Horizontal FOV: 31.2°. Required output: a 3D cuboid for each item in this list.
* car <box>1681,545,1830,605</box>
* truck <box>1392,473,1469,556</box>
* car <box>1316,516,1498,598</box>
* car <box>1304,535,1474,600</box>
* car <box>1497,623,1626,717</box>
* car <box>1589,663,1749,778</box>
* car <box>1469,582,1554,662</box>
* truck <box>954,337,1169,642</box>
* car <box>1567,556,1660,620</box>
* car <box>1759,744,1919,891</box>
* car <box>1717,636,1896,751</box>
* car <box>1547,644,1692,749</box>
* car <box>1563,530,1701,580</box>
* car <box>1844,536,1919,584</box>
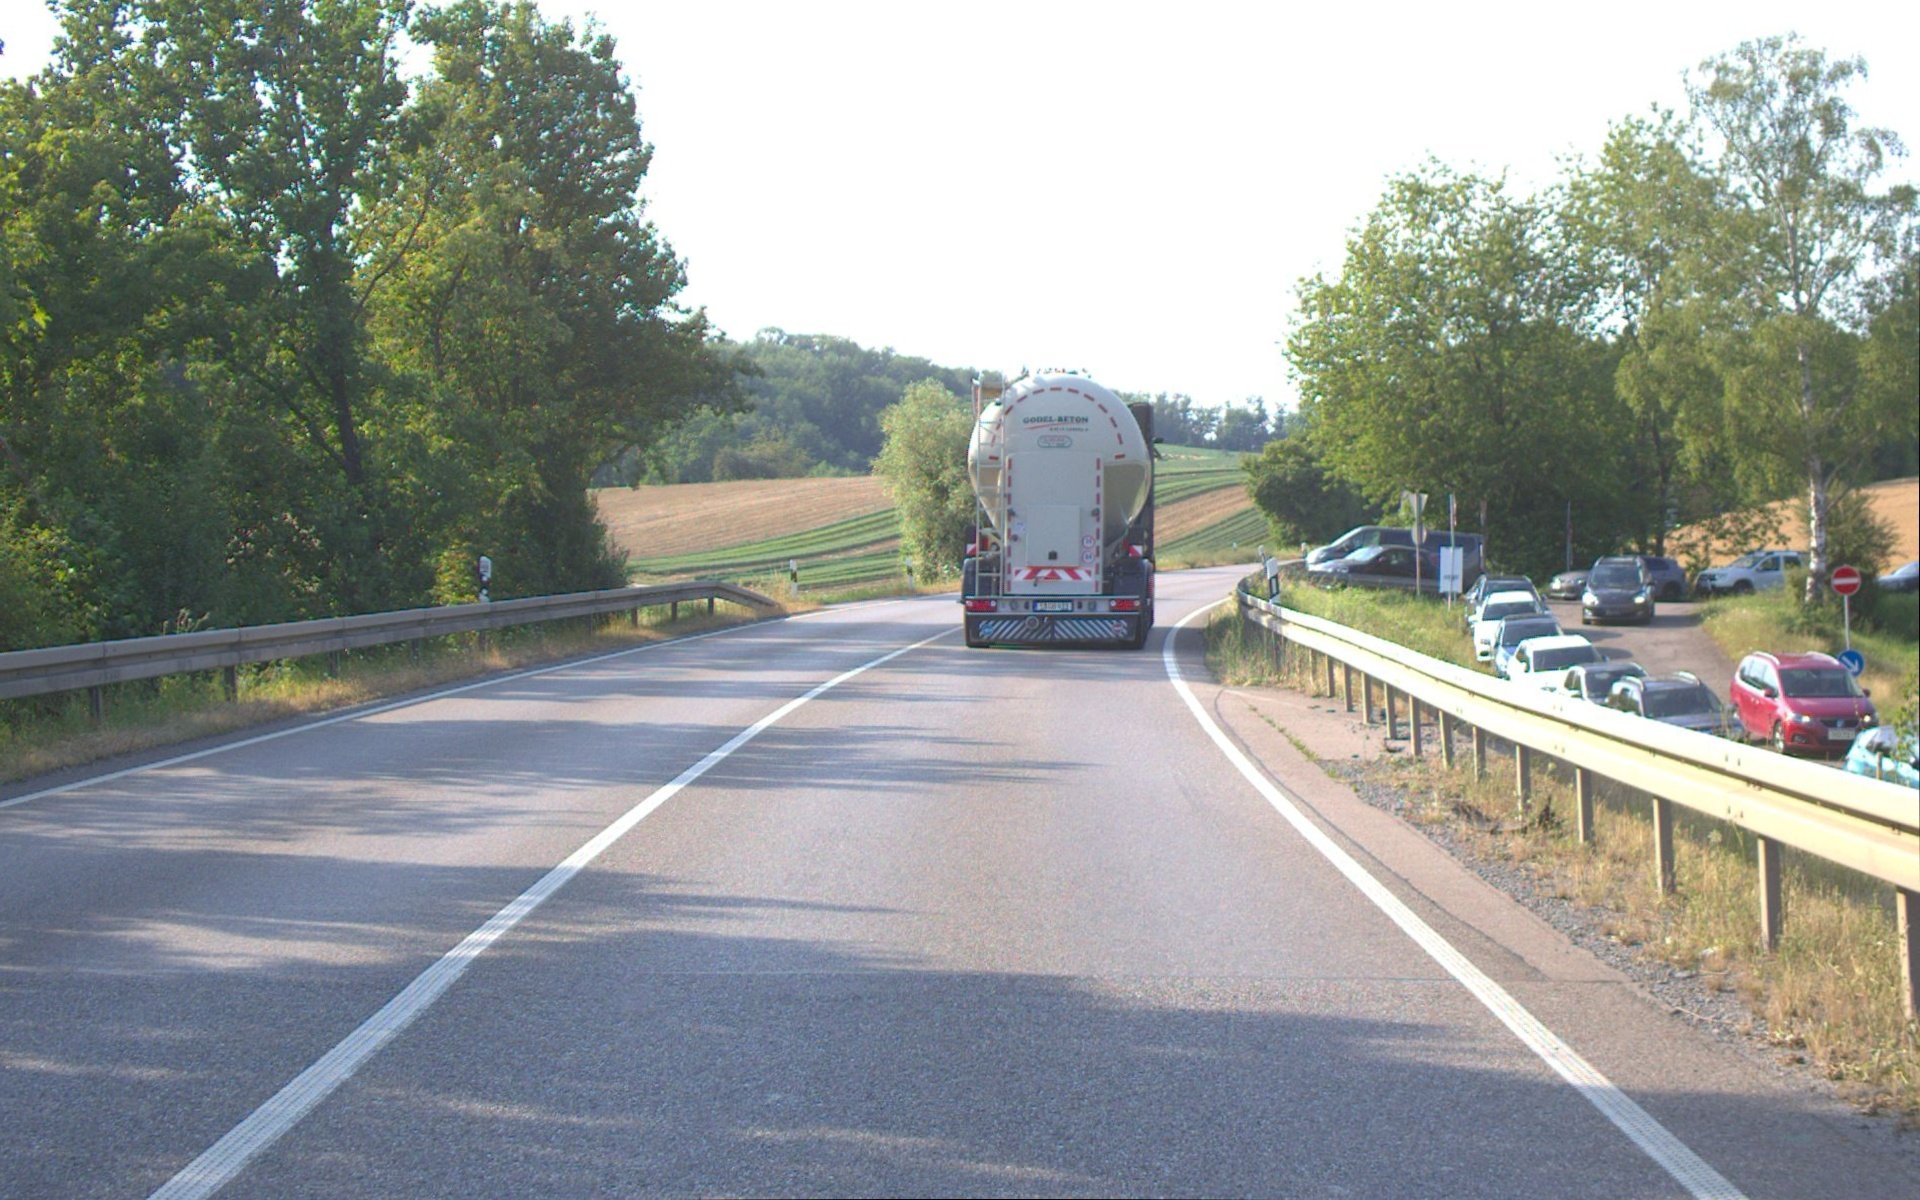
[{"bbox_3d":[24.833,-0.805,107.330,4.203,1.741,1.812,-2,2,-20],"label":"car"},{"bbox_3d":[25.002,-4.574,182.098,3.185,4.213,13.166,-1,2,11],"label":"truck"},{"bbox_3d":[13.203,-1.286,101.871,5.141,1.937,1.975,5,2,6],"label":"car"},{"bbox_3d":[11.912,-0.898,95.390,4.310,1.504,1.721,3,2,-24],"label":"car"},{"bbox_3d":[12.667,1.445,72.638,1.892,1.554,4.783,-4,3,1],"label":"car"},{"bbox_3d":[12.633,2.118,61.512,1.892,1.554,4.783,-4,3,1],"label":"car"},{"bbox_3d":[13.434,0.508,83.949,1.892,1.554,4.782,-3,3,9],"label":"car"},{"bbox_3d":[1.541,-1.651,53.242,2.893,4.128,13.172,0,1,1],"label":"truck"},{"bbox_3d":[17.340,-0.322,91.442,1.892,1.669,4.782,0,0,4],"label":"car"},{"bbox_3d":[13.639,3.122,50.015,1.891,1.554,4.784,-4,3,-14],"label":"car"},{"bbox_3d":[15.905,1.725,64.876,1.892,1.681,5.087,-4,3,-2],"label":"car"},{"bbox_3d":[12.759,1.837,66.769,1.892,1.554,4.783,-4,3,1],"label":"car"},{"bbox_3d":[20.667,-1.383,105.749,3.717,1.436,1.812,1,1,-19],"label":"car"},{"bbox_3d":[30.923,-1.290,110.619,4.628,1.502,2.000,0,1,-28],"label":"car"}]
